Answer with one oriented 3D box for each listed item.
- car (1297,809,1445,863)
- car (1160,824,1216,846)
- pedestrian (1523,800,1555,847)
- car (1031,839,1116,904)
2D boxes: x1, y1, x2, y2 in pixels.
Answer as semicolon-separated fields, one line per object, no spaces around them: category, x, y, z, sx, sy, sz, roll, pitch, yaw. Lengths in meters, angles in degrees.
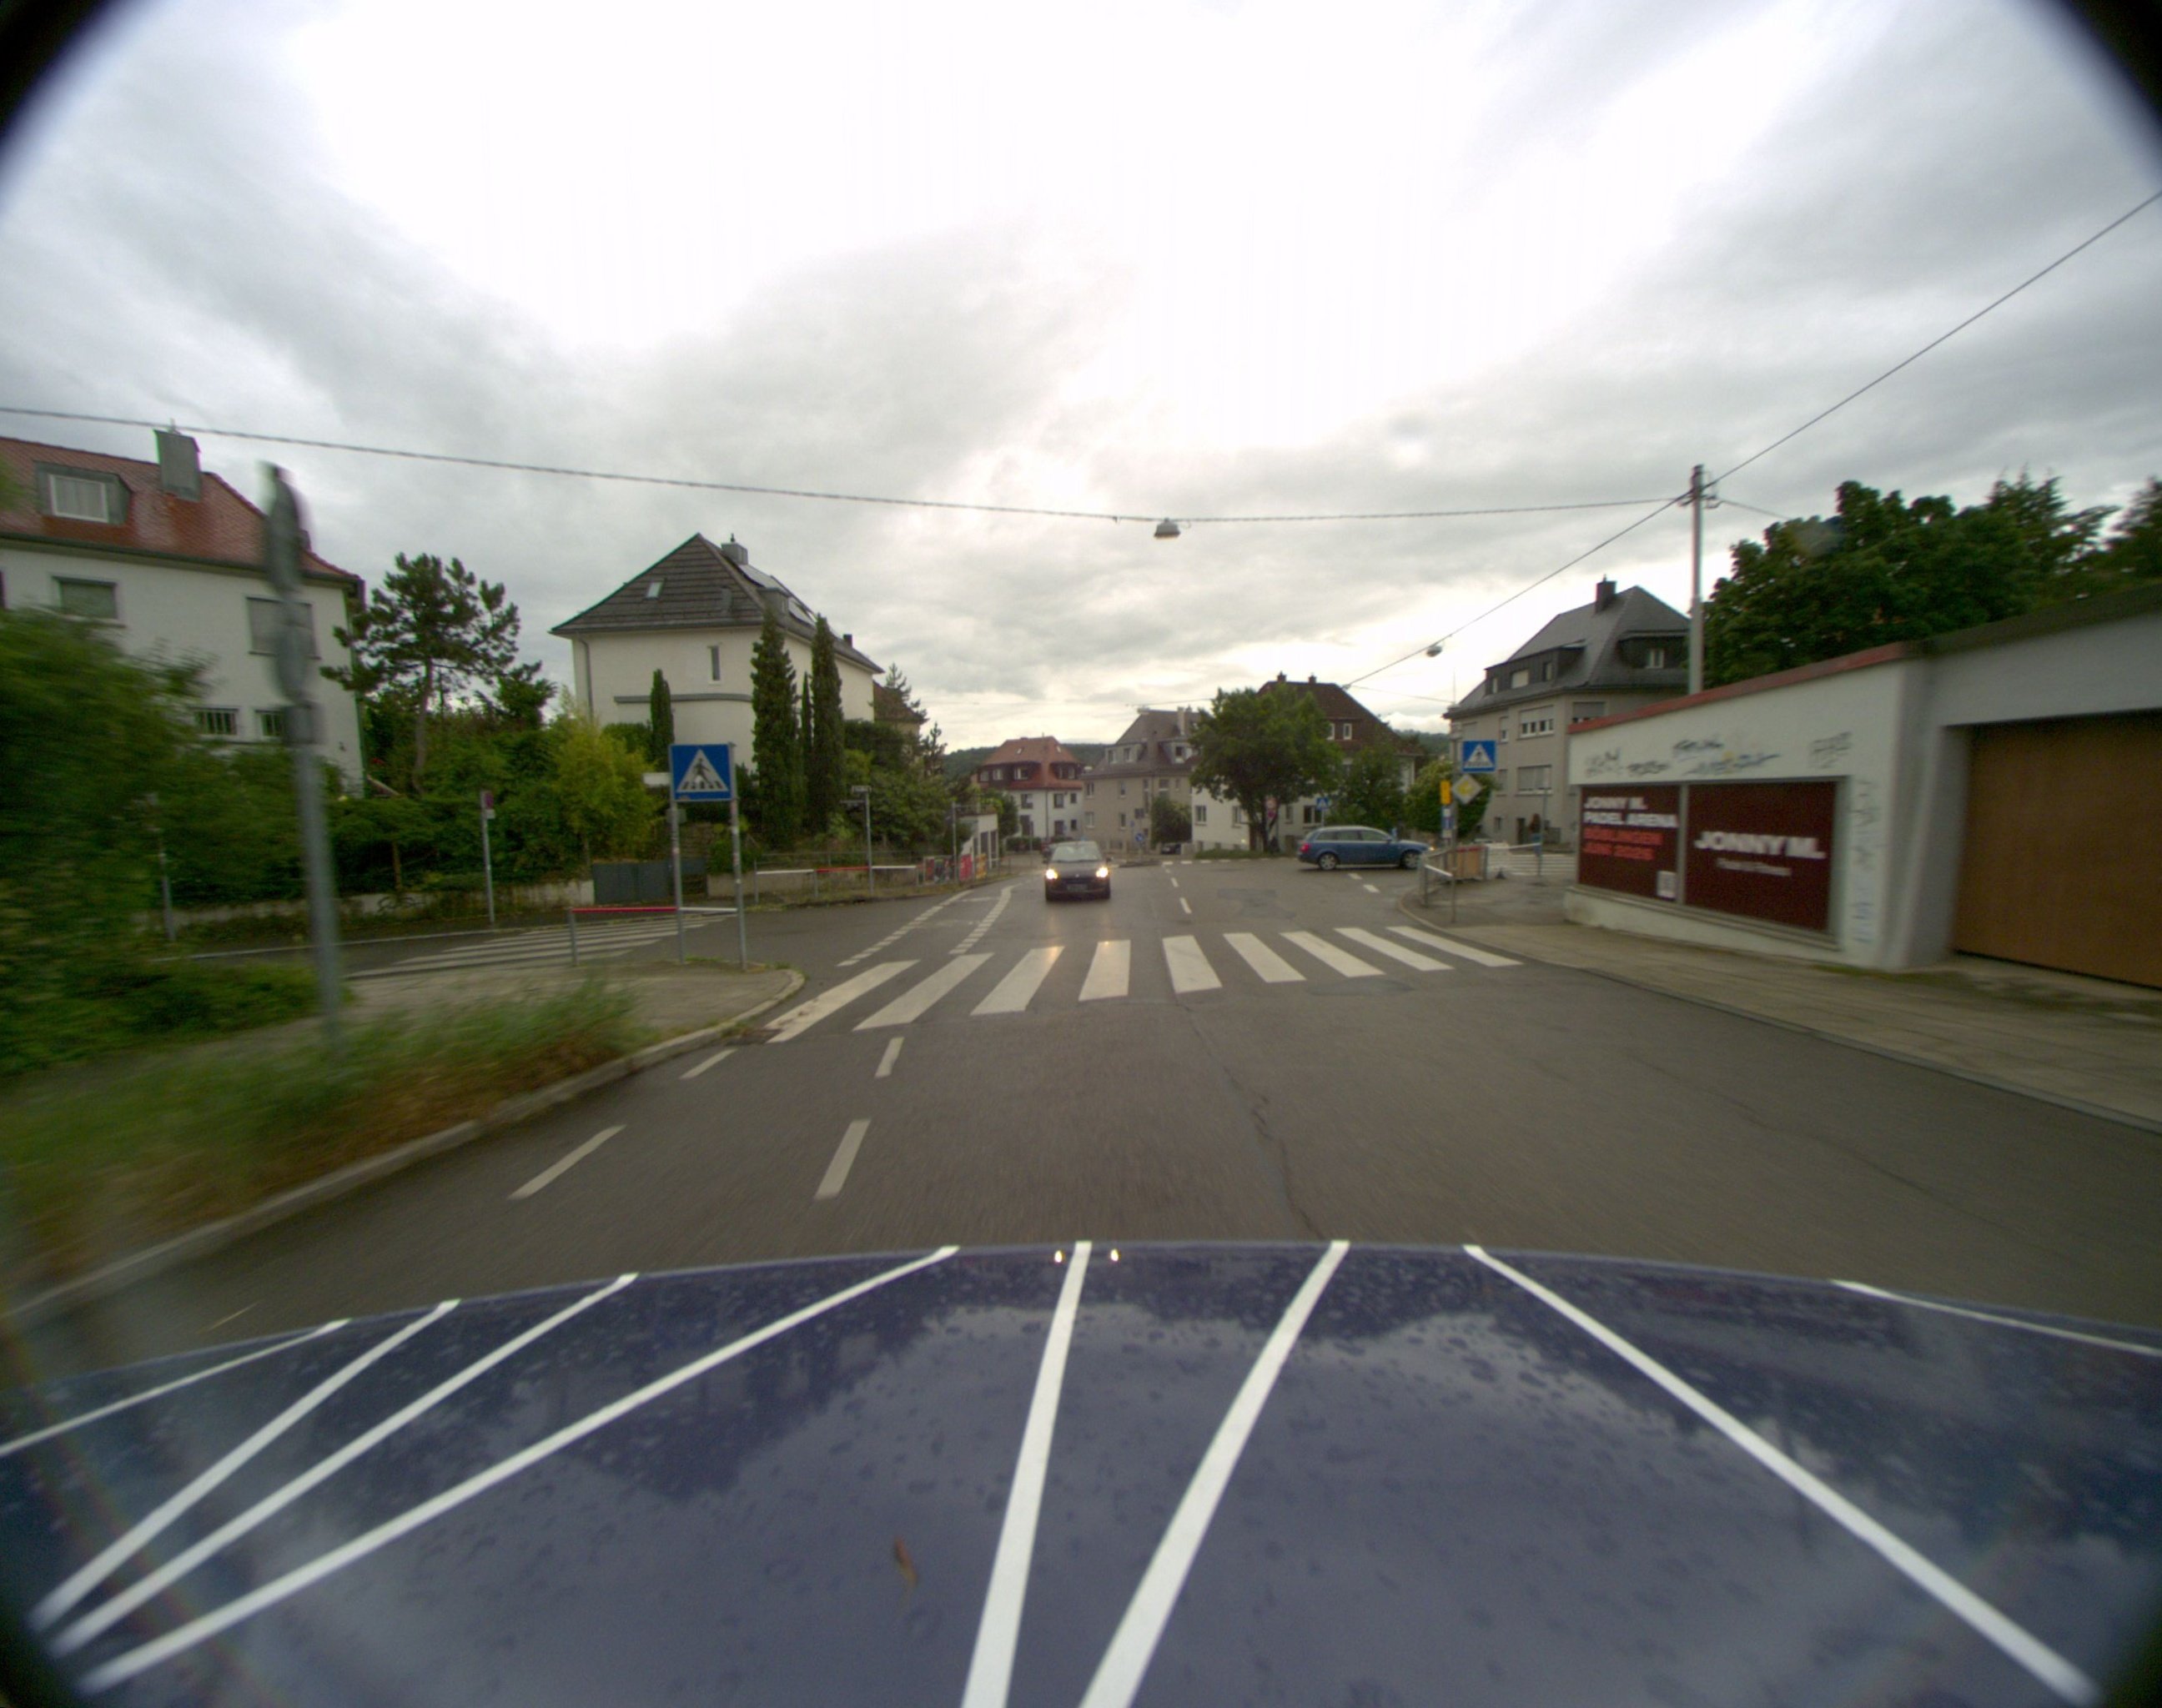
car;9.795;-0.630;26.038;4.480;1.479;2.000;-2;5;13
car;9.050;-1.597;64.299;4.225;1.664;1.875;-3;2;-17
pedestrian;16.169;-1.064;26.841;0.794;1.602;0.644;-2;2;12
car;-0.103;0.396;20.674;1.892;1.521;4.057;-2;1;5
